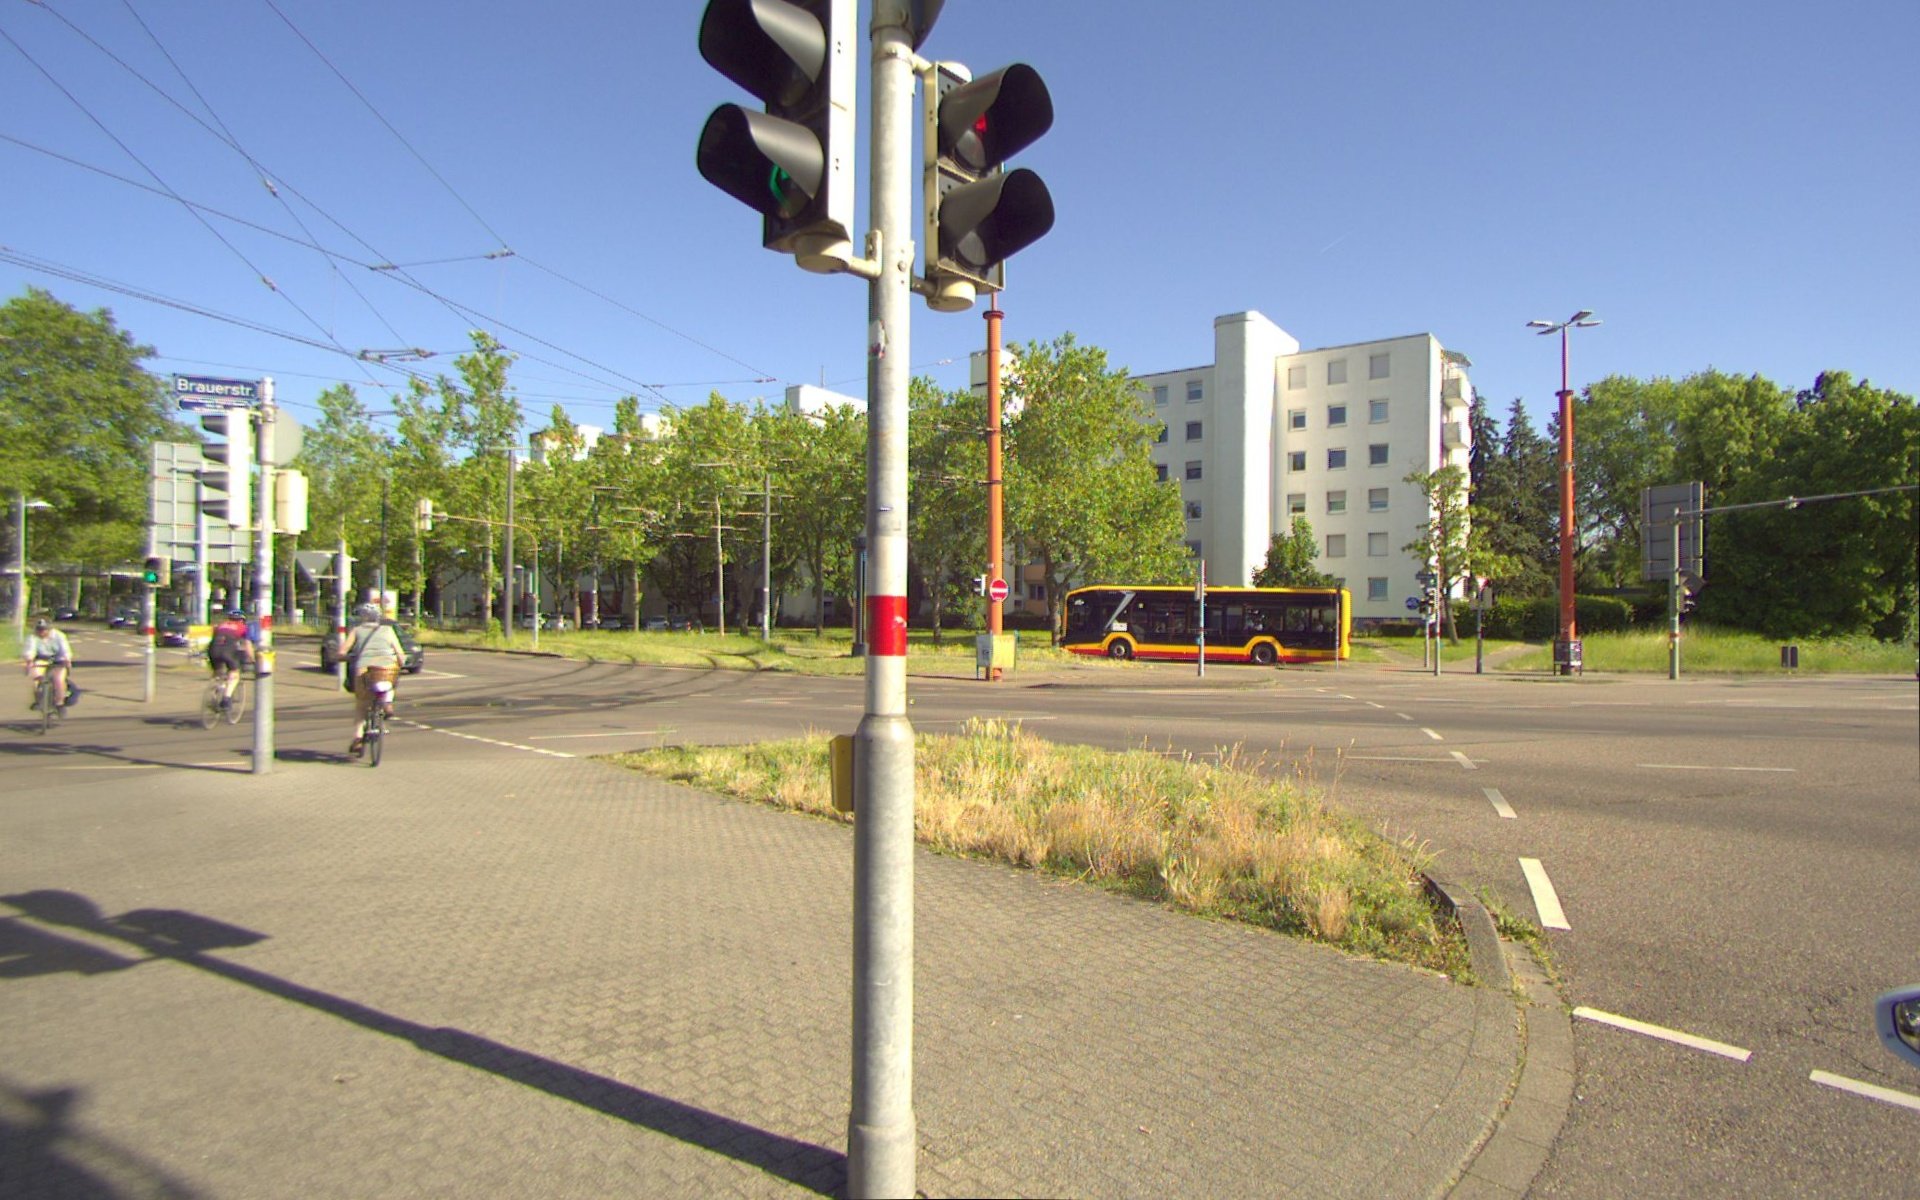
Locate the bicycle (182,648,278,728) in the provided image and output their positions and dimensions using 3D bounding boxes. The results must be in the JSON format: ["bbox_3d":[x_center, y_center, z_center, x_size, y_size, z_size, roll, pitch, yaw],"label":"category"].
[{"bbox_3d":[-11.173,1.316,15.438,0.682,1.086,1.907,1,-1,-21],"label":"bicycle"}]

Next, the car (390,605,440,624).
[{"bbox_3d":[-58.353,1.571,107.565,4.264,2.010,1.937,1,-1,-11],"label":"car"}]

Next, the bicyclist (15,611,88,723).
[{"bbox_3d":[-13.185,0.944,14.599,0.714,1.545,0.913,1,0,-39],"label":"bicyclist"}]

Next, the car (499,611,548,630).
[{"bbox_3d":[-37.877,1.776,87.223,3.584,1.480,1.612,2,0,-11],"label":"car"}]

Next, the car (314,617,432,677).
[{"bbox_3d":[-17.410,1.337,29.749,3.987,1.516,1.908,1,0,42],"label":"car"}]

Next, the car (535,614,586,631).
[{"bbox_3d":[-33.734,1.915,84.906,3.660,1.349,1.498,2,0,0],"label":"car"}]

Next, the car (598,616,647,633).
[{"bbox_3d":[-25.407,1.848,75.592,3.213,1.173,1.360,2,0,-4],"label":"car"}]

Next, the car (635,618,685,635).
[{"bbox_3d":[-22.084,1.940,74.083,3.274,1.149,1.323,2,0,-3],"label":"car"}]

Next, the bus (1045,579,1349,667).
[{"bbox_3d":[9.990,0.886,43.170,12.284,3.305,2.655,2,0,16],"label":"bus"}]

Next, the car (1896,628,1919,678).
[{"bbox_3d":[34.212,1.814,34.141,4.156,1.673,1.874,2,-2,-21],"label":"car"}]

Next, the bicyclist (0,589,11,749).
[{"bbox_3d":[-11.903,0.803,11.823,0.909,1.892,0.890,2,0,36],"label":"bicyclist"}]

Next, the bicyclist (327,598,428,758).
[{"bbox_3d":[-6.317,0.817,10.887,0.883,1.643,0.820,1,-2,-33],"label":"bicyclist"}]

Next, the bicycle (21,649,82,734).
[{"bbox_3d":[-13.218,1.296,14.652,0.575,1.086,1.893,1,-1,-40],"label":"bicycle"}]

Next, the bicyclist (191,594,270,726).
[{"bbox_3d":[-11.091,0.887,15.305,0.676,1.938,0.987,1,0,-20],"label":"bicyclist"}]

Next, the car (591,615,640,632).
[{"bbox_3d":[-26.675,1.821,77.891,3.339,1.162,1.307,2,0,-5],"label":"car"}]

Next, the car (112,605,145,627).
[{"bbox_3d":[-64.146,1.226,77.470,1.832,1.516,3.950,1,0,-42],"label":"car"}]

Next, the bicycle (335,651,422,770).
[{"bbox_3d":[-6.371,1.140,10.957,0.732,1.146,1.899,1,-2,-33],"label":"bicycle"}]

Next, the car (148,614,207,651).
[{"bbox_3d":[-36.831,1.499,47.222,1.904,1.516,3.950,1,0,-42],"label":"car"}]

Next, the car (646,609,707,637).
[{"bbox_3d":[-20.215,1.638,71.780,3.866,1.841,1.654,2,0,-5],"label":"car"}]

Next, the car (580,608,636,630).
[{"bbox_3d":[-28.042,1.478,80.101,3.863,1.614,1.659,2,0,0],"label":"car"}]
